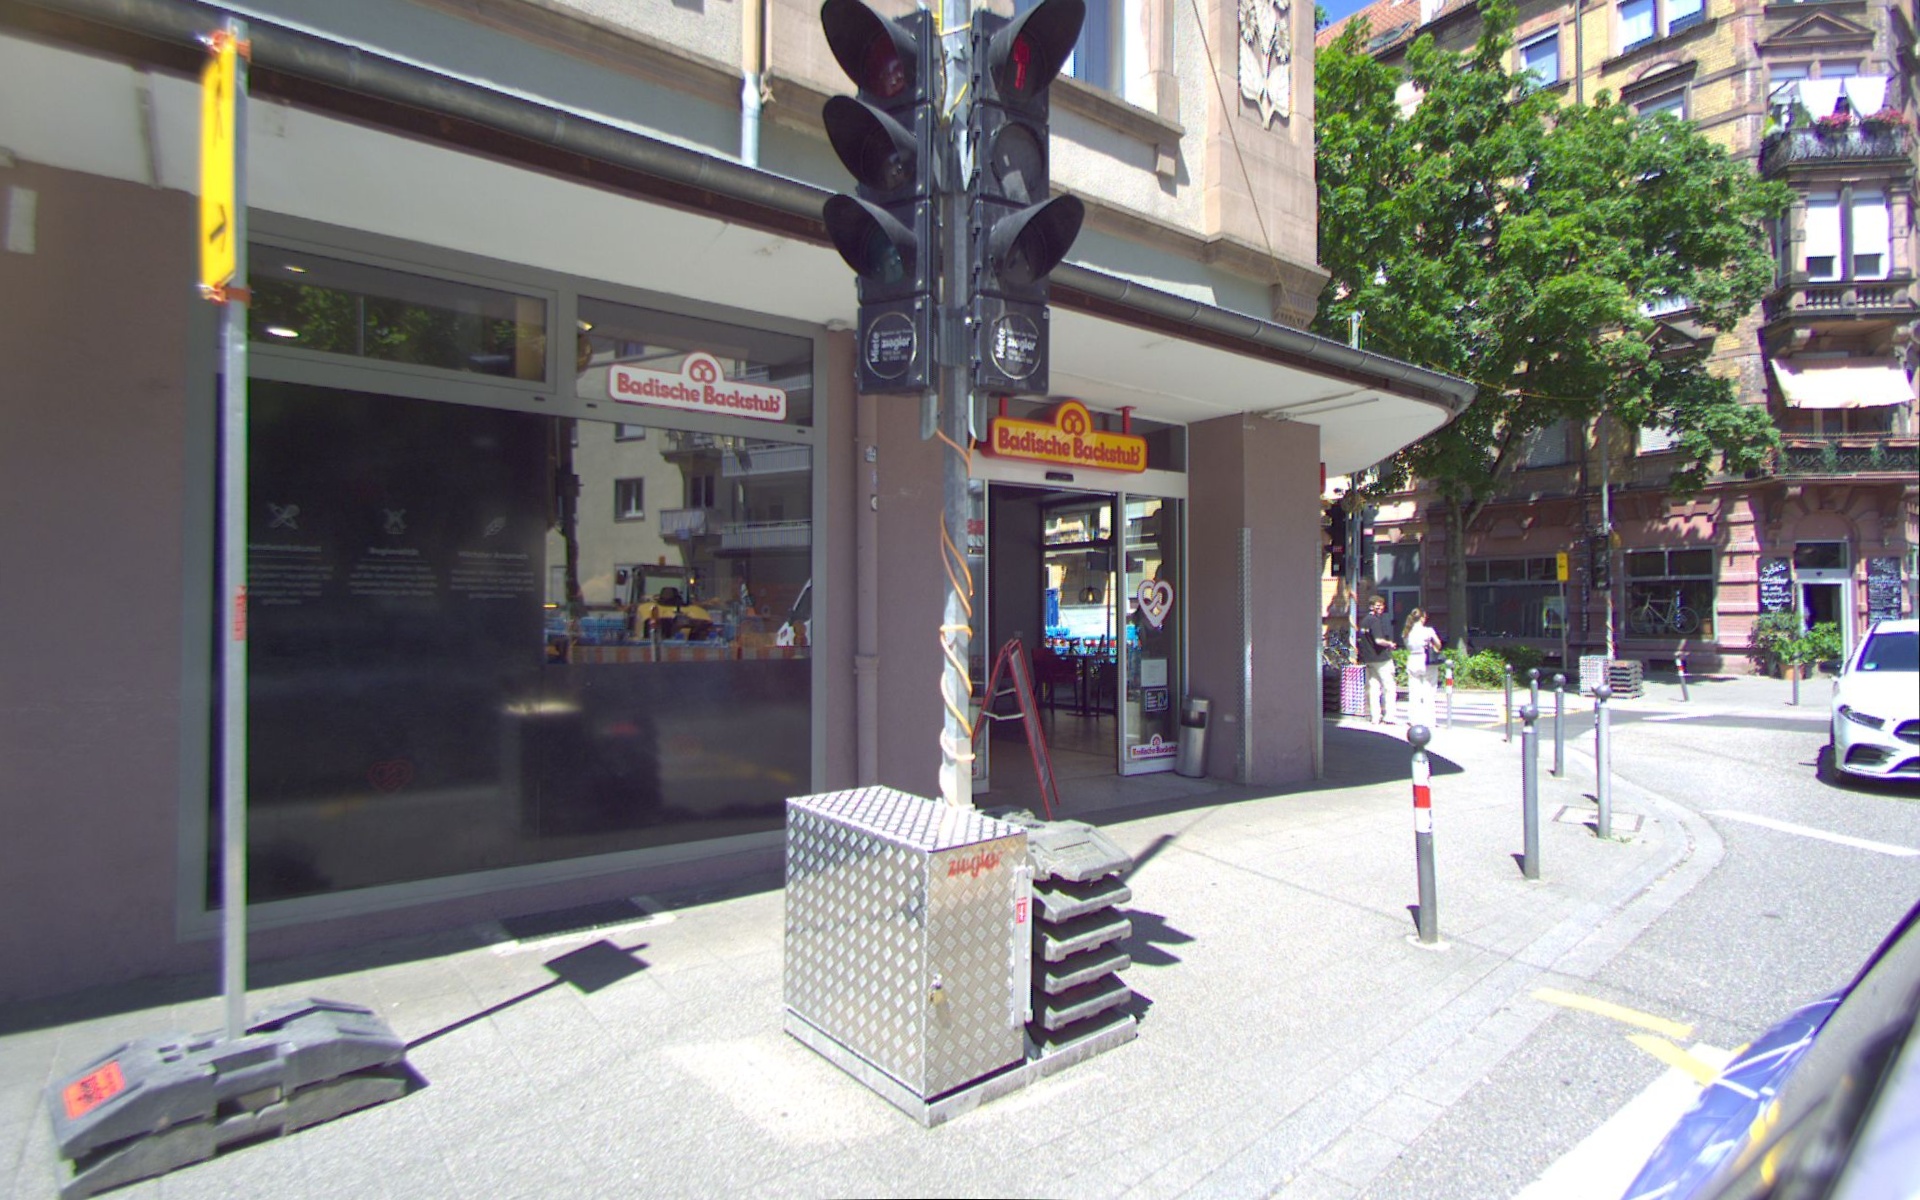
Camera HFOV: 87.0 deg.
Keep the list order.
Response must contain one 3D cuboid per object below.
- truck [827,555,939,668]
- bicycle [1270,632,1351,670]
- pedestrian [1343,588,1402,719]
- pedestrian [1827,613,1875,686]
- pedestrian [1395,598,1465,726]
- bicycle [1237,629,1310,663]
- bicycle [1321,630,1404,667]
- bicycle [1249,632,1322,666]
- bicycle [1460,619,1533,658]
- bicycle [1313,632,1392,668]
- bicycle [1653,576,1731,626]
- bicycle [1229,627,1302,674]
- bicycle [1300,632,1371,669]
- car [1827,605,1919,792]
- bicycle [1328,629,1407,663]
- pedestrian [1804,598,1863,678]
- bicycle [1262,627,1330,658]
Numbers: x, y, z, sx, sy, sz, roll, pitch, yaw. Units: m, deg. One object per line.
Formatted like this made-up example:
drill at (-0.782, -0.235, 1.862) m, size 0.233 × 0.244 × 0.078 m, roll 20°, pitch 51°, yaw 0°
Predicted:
truck at (-2.992, 0.454, 38.534) m, size 2.245 × 4.005 × 4.475 m, roll 1°, pitch -2°, yaw -36°
bicycle at (8.861, 1.274, 25.676) m, size 0.499 × 0.883 × 2.075 m, roll 1°, pitch -1°, yaw -33°
pedestrian at (5.811, 0.745, 14.259) m, size 0.463 × 1.792 × 0.575 m, roll 6°, pitch -3°, yaw -45°
pedestrian at (21.484, 1.185, 24.405) m, size 0.712 × 1.740 × 0.495 m, roll 0°, pitch 1°, yaw 8°
pedestrian at (6.369, 0.825, 13.731) m, size 0.416 × 1.666 × 0.702 m, roll 6°, pitch -3°, yaw -45°
bicycle at (8.528, 1.239, 27.602) m, size 0.499 × 0.883 × 2.075 m, roll 1°, pitch -1°, yaw -33°
bicycle at (10.350, 1.233, 26.102) m, size 0.499 × 0.883 × 2.075 m, roll 1°, pitch -1°, yaw -33°
bicycle at (8.981, 1.333, 27.995) m, size 0.499 × 0.883 × 2.075 m, roll 1°, pitch -1°, yaw -33°
bicycle at (14.659, 1.044, 27.677) m, size 0.512 × 1.021 × 1.696 m, roll 1°, pitch -1°, yaw -36°
bicycle at (10.588, 1.335, 27.360) m, size 0.499 × 0.883 × 2.075 m, roll 1°, pitch -1°, yaw -33°
bicycle at (17.642, 0.038, 24.411) m, size 0.500 × 1.167 × 1.426 m, roll 1°, pitch -2°, yaw -34°
bicycle at (7.828, 1.276, 25.984) m, size 0.501 × 1.121 × 1.780 m, roll -1°, pitch 0°, yaw -43°
bicycle at (9.627, 1.280, 26.006) m, size 0.499 × 0.883 × 1.746 m, roll 1°, pitch -1°, yaw -33°
car at (9.274, 0.764, 9.191) m, size 1.809 × 1.444 × 4.174 m, roll -4°, pitch -2°, yaw 44°
bicycle at (11.128, 1.244, 27.708) m, size 0.499 × 0.883 × 2.075 m, roll 1°, pitch -1°, yaw -33°
pedestrian at (20.519, 0.874, 23.778) m, size 0.925 × 1.842 × 0.456 m, roll 0°, pitch 2°, yaw 7°
bicycle at (10.089, 1.266, 30.456) m, size 0.499 × 0.883 × 2.075 m, roll 1°, pitch -1°, yaw -33°
